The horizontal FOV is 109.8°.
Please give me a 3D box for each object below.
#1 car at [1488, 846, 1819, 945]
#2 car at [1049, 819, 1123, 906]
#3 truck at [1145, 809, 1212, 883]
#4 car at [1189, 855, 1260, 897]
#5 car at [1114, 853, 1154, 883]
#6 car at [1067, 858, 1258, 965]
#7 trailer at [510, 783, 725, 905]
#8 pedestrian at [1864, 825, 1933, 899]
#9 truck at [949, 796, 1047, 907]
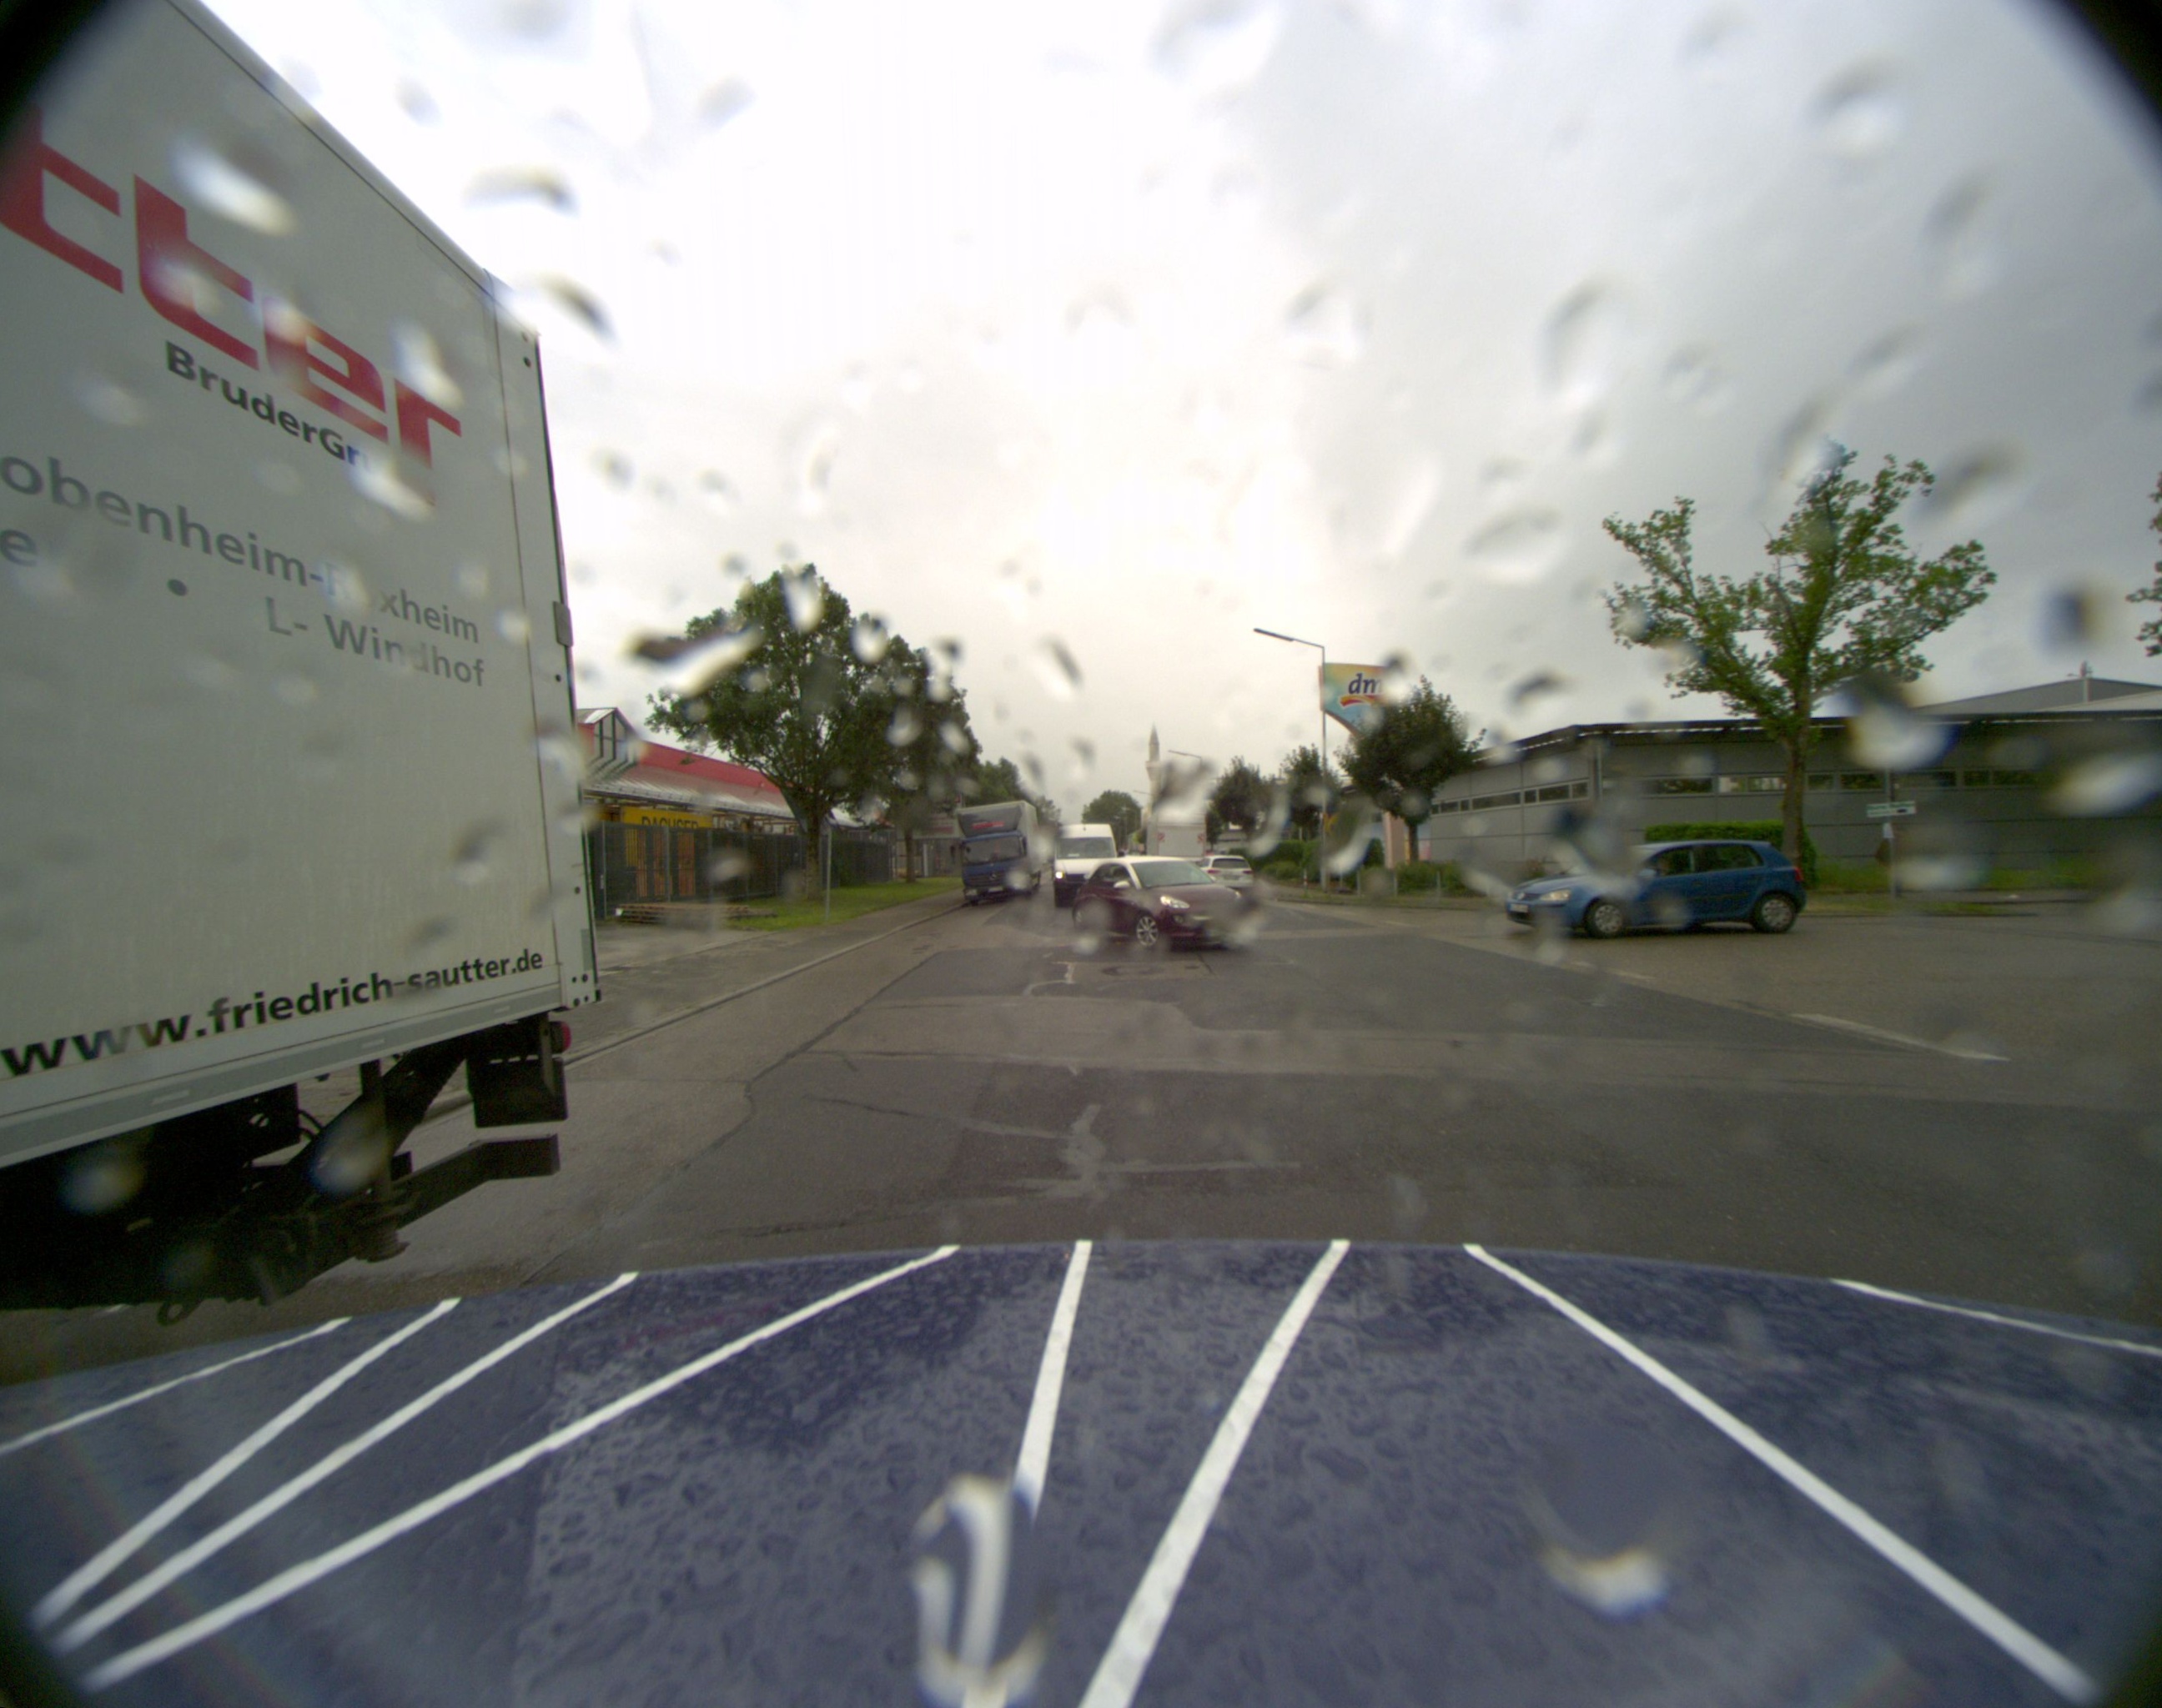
[{"bbox_3d":[8.993,0.617,12.184,3.997,1.432,1.736,-1,0,0],"label":"car"},{"bbox_3d":[0.208,0.244,24.750,2.085,2.466,5.347,-1,0,1],"label":"car"},{"bbox_3d":[5.281,-0.438,42.679,2.889,3.724,7.867,-1,0,1],"label":"truck"},{"bbox_3d":[5.244,0.752,28.334,1.840,1.426,4.491,0,0,1],"label":"car"},{"bbox_3d":[2.666,0.673,38.808,1.735,1.432,4.000,-1,0,-1],"label":"car"},{"bbox_3d":[1.209,0.851,12.822,1.639,1.446,3.571,-3,1,-22],"label":"car"},{"bbox_3d":[-18.541,-0.364,31.531,2.974,4.218,9.470,-1,0,0],"label":"trailer"},{"bbox_3d":[18.822,0.179,17.508,0.782,1.664,0.758,-1,1,-2],"label":"pedestrian"},{"bbox_3d":[-3.054,-0.091,30.307,2.678,3.670,8.009,-4,0,1],"label":"truck"}]
